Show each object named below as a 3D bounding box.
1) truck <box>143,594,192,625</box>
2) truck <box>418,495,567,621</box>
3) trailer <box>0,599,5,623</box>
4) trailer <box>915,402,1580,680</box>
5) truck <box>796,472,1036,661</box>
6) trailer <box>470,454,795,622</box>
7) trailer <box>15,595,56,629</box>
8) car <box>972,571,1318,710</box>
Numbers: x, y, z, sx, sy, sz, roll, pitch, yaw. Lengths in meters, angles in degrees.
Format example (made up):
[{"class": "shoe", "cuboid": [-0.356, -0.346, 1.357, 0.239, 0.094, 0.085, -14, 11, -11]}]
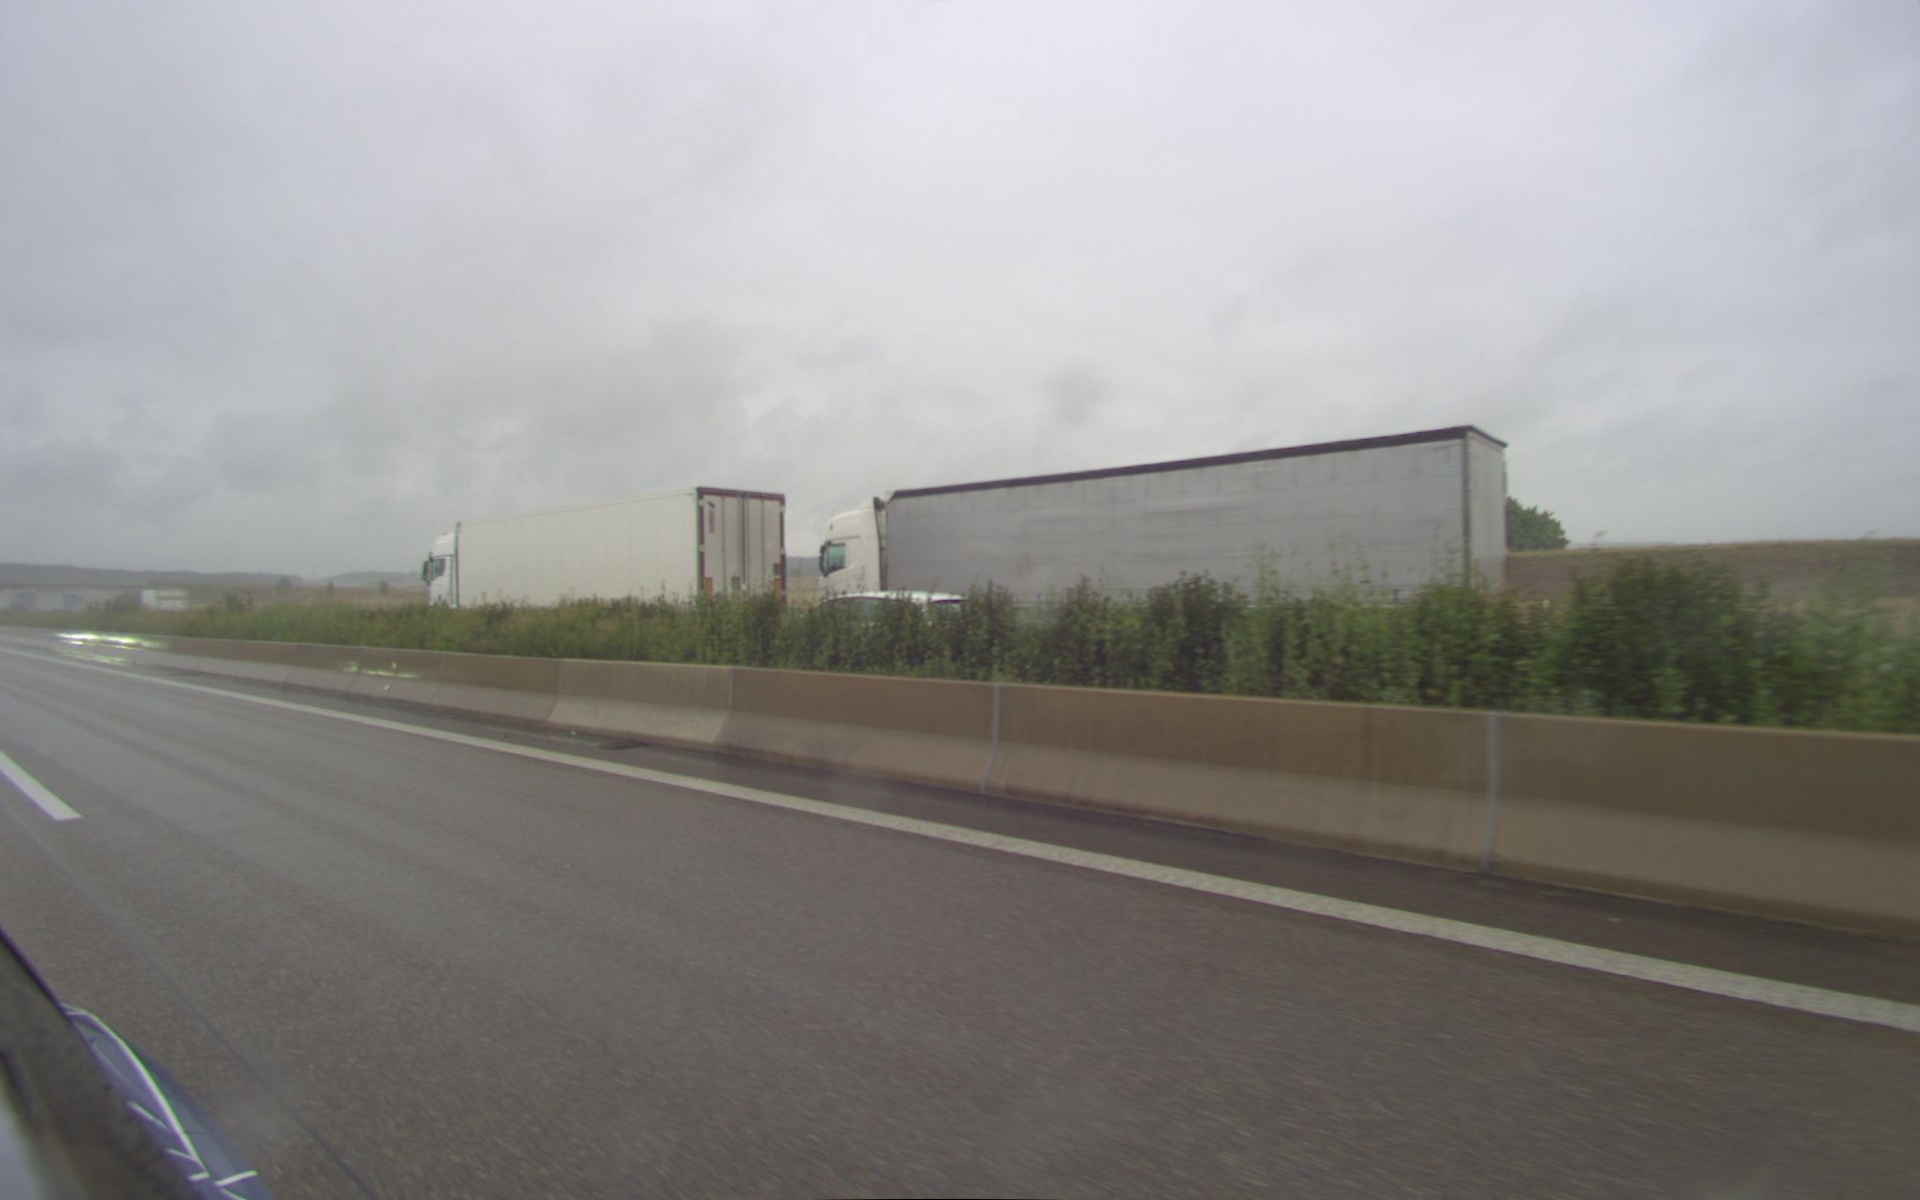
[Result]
[{"class": "truck", "cuboid": [-80.766, 0.932, 103.075, 8.282, 2.930, 2.789, 0, 0, 43]}, {"class": "truck", "cuboid": [-15.620, -1.275, 33.726, 4.817, 3.876, 2.730, -1, 0, 41]}, {"class": "trailer", "cuboid": [-144.606, 1.607, 150.328, 9.440, 3.482, 3.222, -1, -1, 42]}, {"class": "trailer", "cuboid": [4.887, -0.828, 20.931, 13.228, 4.283, 2.789, -1, 0, 40]}, {"class": "truck", "cuboid": [-1.241, -0.751, 26.151, 5.836, 4.327, 2.731, -1, 0, 41]}, {"class": "trailer", "cuboid": [-9.704, -1.369, 28.447, 12.401, 3.881, 2.788, -1, 0, 42]}, {"class": "trailer", "cuboid": [-113.443, 1.509, 124.116, 13.489, 3.969, 2.410, -1, 0, 42]}, {"class": "car", "cuboid": [2.252, 0.451, 12.906, 3.997, 1.497, 1.758, -1, 0, 41]}]
